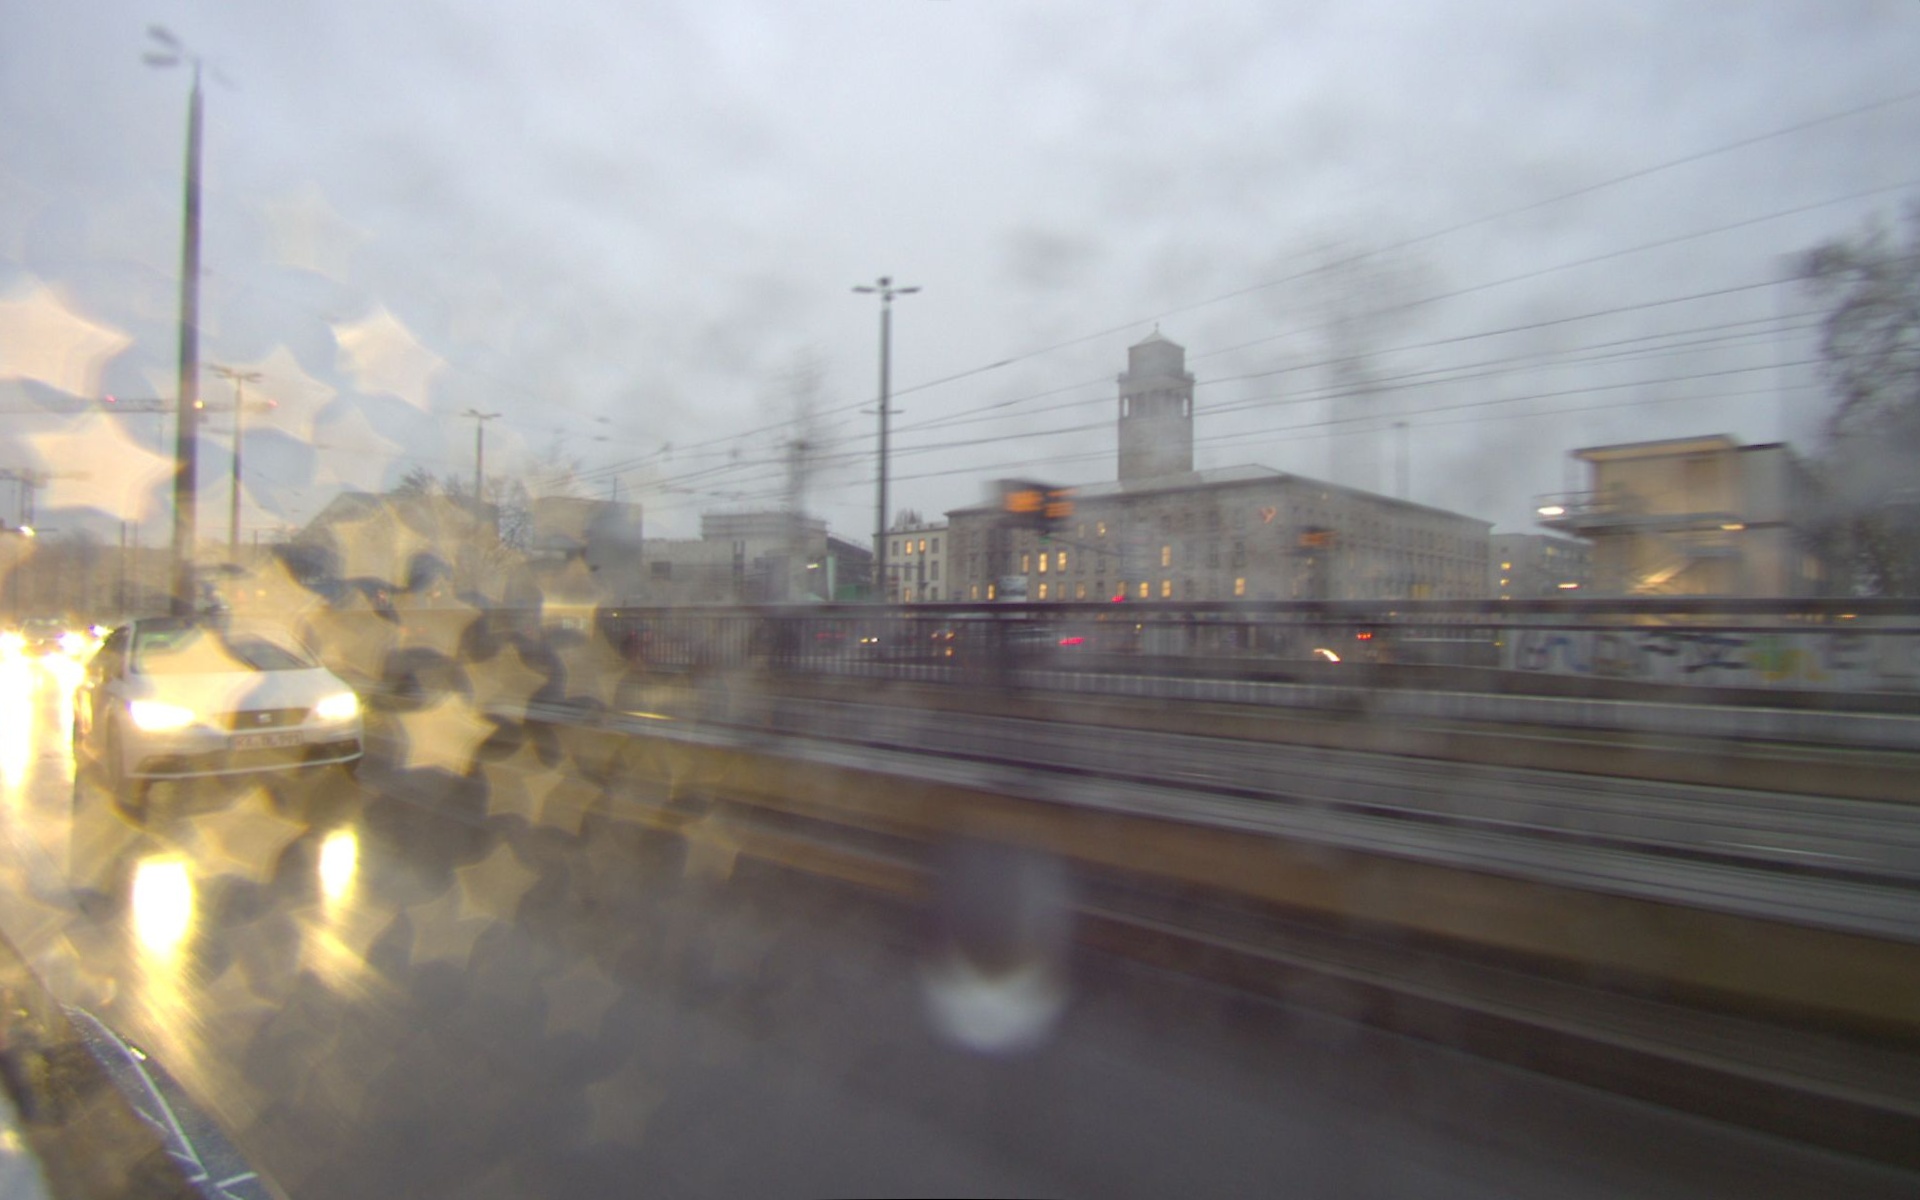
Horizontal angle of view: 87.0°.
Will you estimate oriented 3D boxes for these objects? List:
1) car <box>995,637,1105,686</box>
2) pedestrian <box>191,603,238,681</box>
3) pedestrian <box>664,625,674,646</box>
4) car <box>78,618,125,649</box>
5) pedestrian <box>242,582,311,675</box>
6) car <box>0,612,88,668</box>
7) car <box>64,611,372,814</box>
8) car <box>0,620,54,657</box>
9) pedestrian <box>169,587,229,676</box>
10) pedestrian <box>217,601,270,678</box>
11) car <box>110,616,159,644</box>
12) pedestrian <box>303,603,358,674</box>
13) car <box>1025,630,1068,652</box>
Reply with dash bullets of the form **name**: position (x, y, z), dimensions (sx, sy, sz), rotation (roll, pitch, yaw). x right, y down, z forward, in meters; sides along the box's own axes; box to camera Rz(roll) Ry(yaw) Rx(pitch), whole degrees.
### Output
- **car**: position (3.782, 2.552, 42.939), dimensions (4.380, 1.887, 1.855), rotation (-1, -1, 39)
- **pedestrian**: position (-17.017, 0.940, 23.106), dimensions (0.656, 1.748, 0.607), rotation (1, 0, -12)
- **pedestrian**: position (-24.012, 2.908, 83.498), dimensions (0.646, 1.678, 0.743), rotation (1, -2, -12)
- **car**: position (-54.474, 2.106, 64.198), dimensions (4.001, 1.896, 1.926), rotation (-2, -1, 44)
- **pedestrian**: position (-16.747, 0.696, 24.811), dimensions (0.949, 2.224, 1.047), rotation (0, -1, 16)
- **car**: position (-29.748, 1.235, 32.760), dimensions (4.001, 1.695, 1.971), rotation (-1, -1, 44)
- **car**: position (-7.126, 0.873, 9.546), dimensions (1.788, 1.484, 4.142), rotation (1, -2, -44)
- **car**: position (-43.925, 1.773, 47.411), dimensions (3.986, 1.674, 1.843), rotation (-1, -2, 43)
- **pedestrian**: position (-19.062, 0.772, 25.350), dimensions (1.014, 2.162, 0.896), rotation (-1, -1, 31)
- **pedestrian**: position (-16.317, 0.888, 23.059), dimensions (0.743, 1.731, 0.650), rotation (0, -1, 16)
- **car**: position (-47.915, 1.712, 58.724), dimensions (3.929, 1.541, 1.775), rotation (-2, -1, 44)
- **pedestrian**: position (-15.458, 0.933, 24.850), dimensions (0.758, 1.727, 0.856), rotation (0, -1, 16)
- **car**: position (5.526, 2.572, 64.212), dimensions (1.446, 1.284, 3.125), rotation (-1, -1, 33)
